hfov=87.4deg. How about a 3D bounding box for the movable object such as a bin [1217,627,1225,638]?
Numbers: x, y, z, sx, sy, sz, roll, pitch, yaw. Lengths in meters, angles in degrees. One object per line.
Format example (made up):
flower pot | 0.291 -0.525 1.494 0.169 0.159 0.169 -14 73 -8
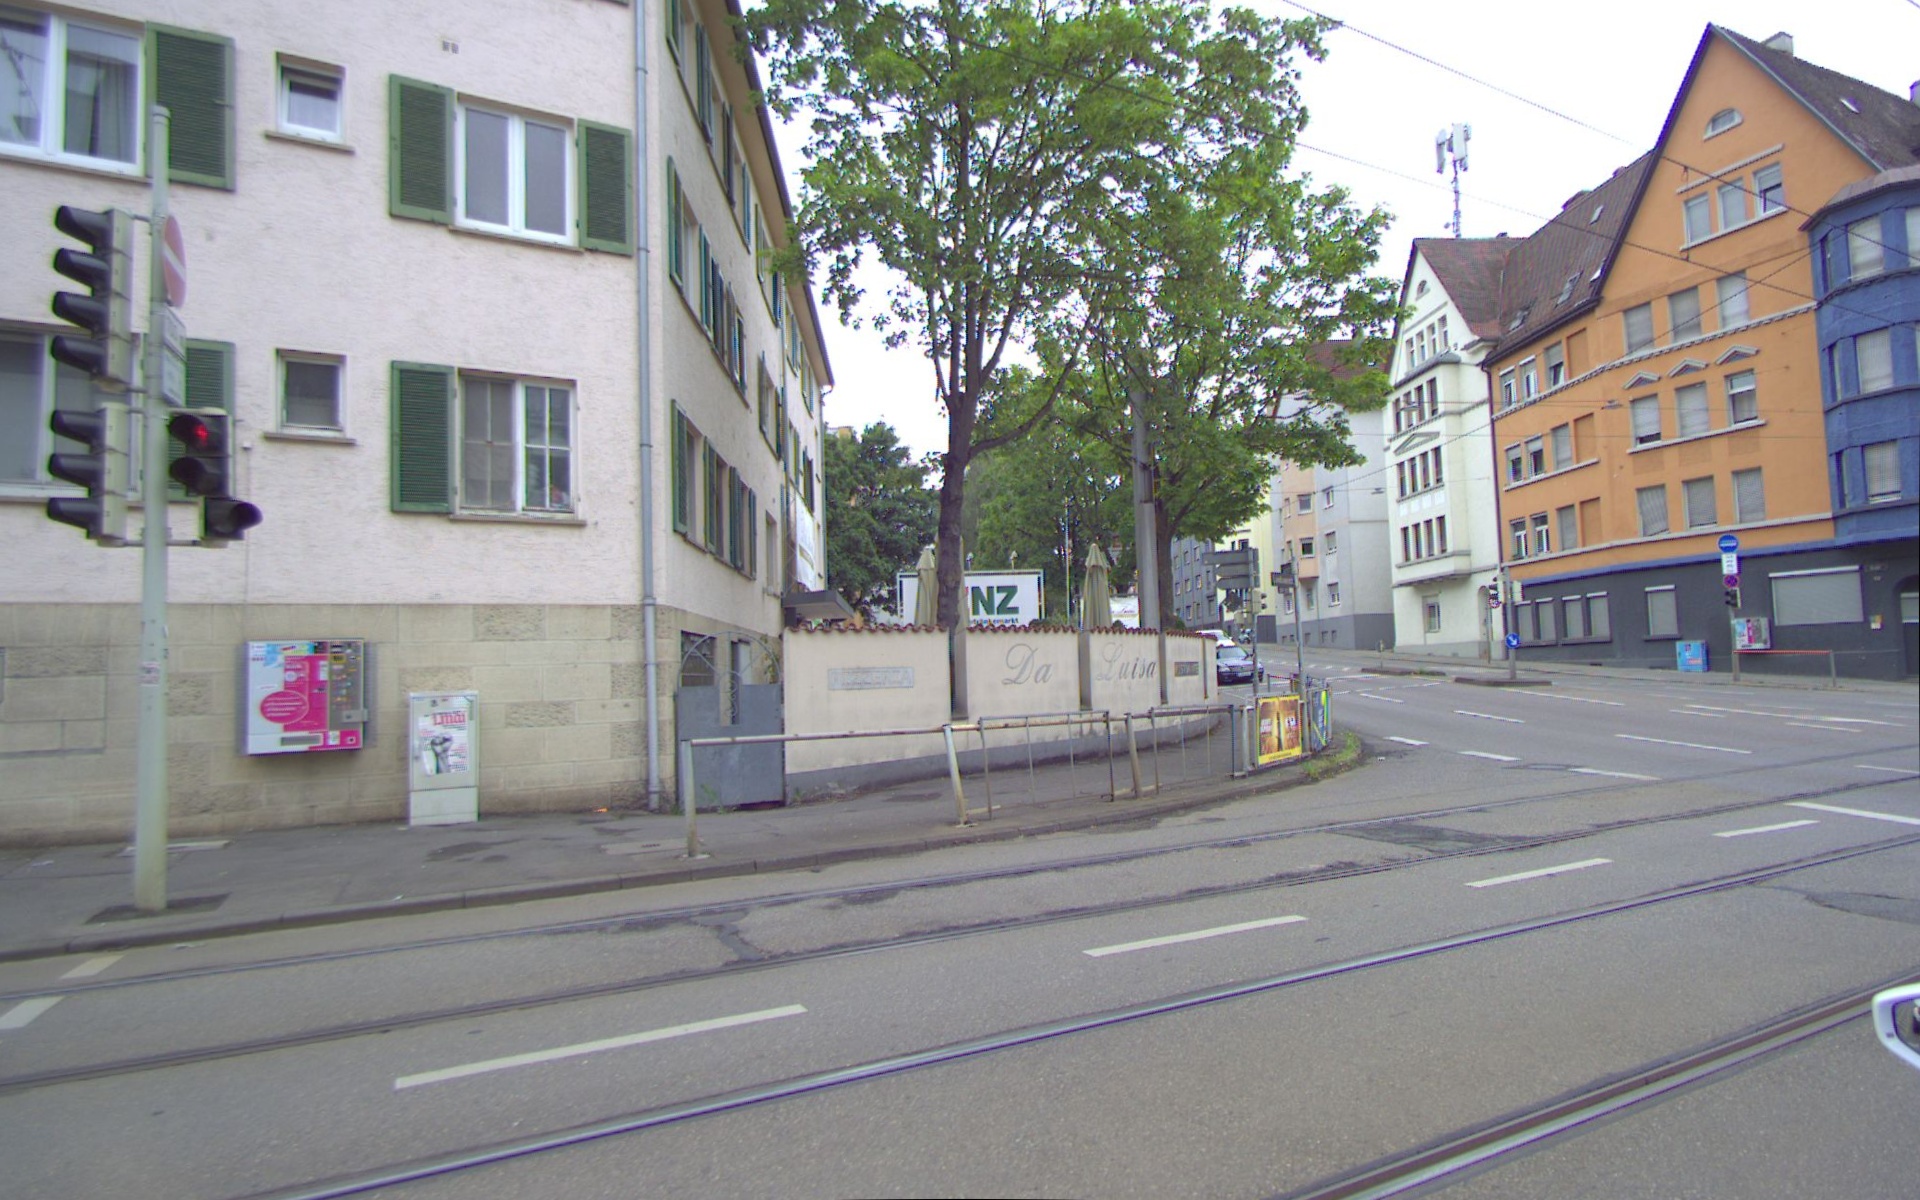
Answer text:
movable object such as a bin | 22.107 2.718 84.972 0.467 0.903 0.516 -4 -1 -4

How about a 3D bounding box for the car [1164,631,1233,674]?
car | 10.593 2.287 44.907 1.919 1.664 4.414 -4 -1 0

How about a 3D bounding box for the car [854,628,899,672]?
car | -3.795 2.273 46.449 1.794 1.927 4.000 1 -1 -1

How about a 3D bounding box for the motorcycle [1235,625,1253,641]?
motorcycle | 22.097 2.558 78.106 0.529 1.171 2.225 -4 -1 -5

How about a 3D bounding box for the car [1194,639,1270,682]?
car | 10.234 2.249 38.094 1.772 1.298 4.238 -4 -1 2

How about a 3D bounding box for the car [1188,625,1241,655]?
car | 14.248 2.236 56.514 1.747 1.567 4.324 -1 -1 -2
